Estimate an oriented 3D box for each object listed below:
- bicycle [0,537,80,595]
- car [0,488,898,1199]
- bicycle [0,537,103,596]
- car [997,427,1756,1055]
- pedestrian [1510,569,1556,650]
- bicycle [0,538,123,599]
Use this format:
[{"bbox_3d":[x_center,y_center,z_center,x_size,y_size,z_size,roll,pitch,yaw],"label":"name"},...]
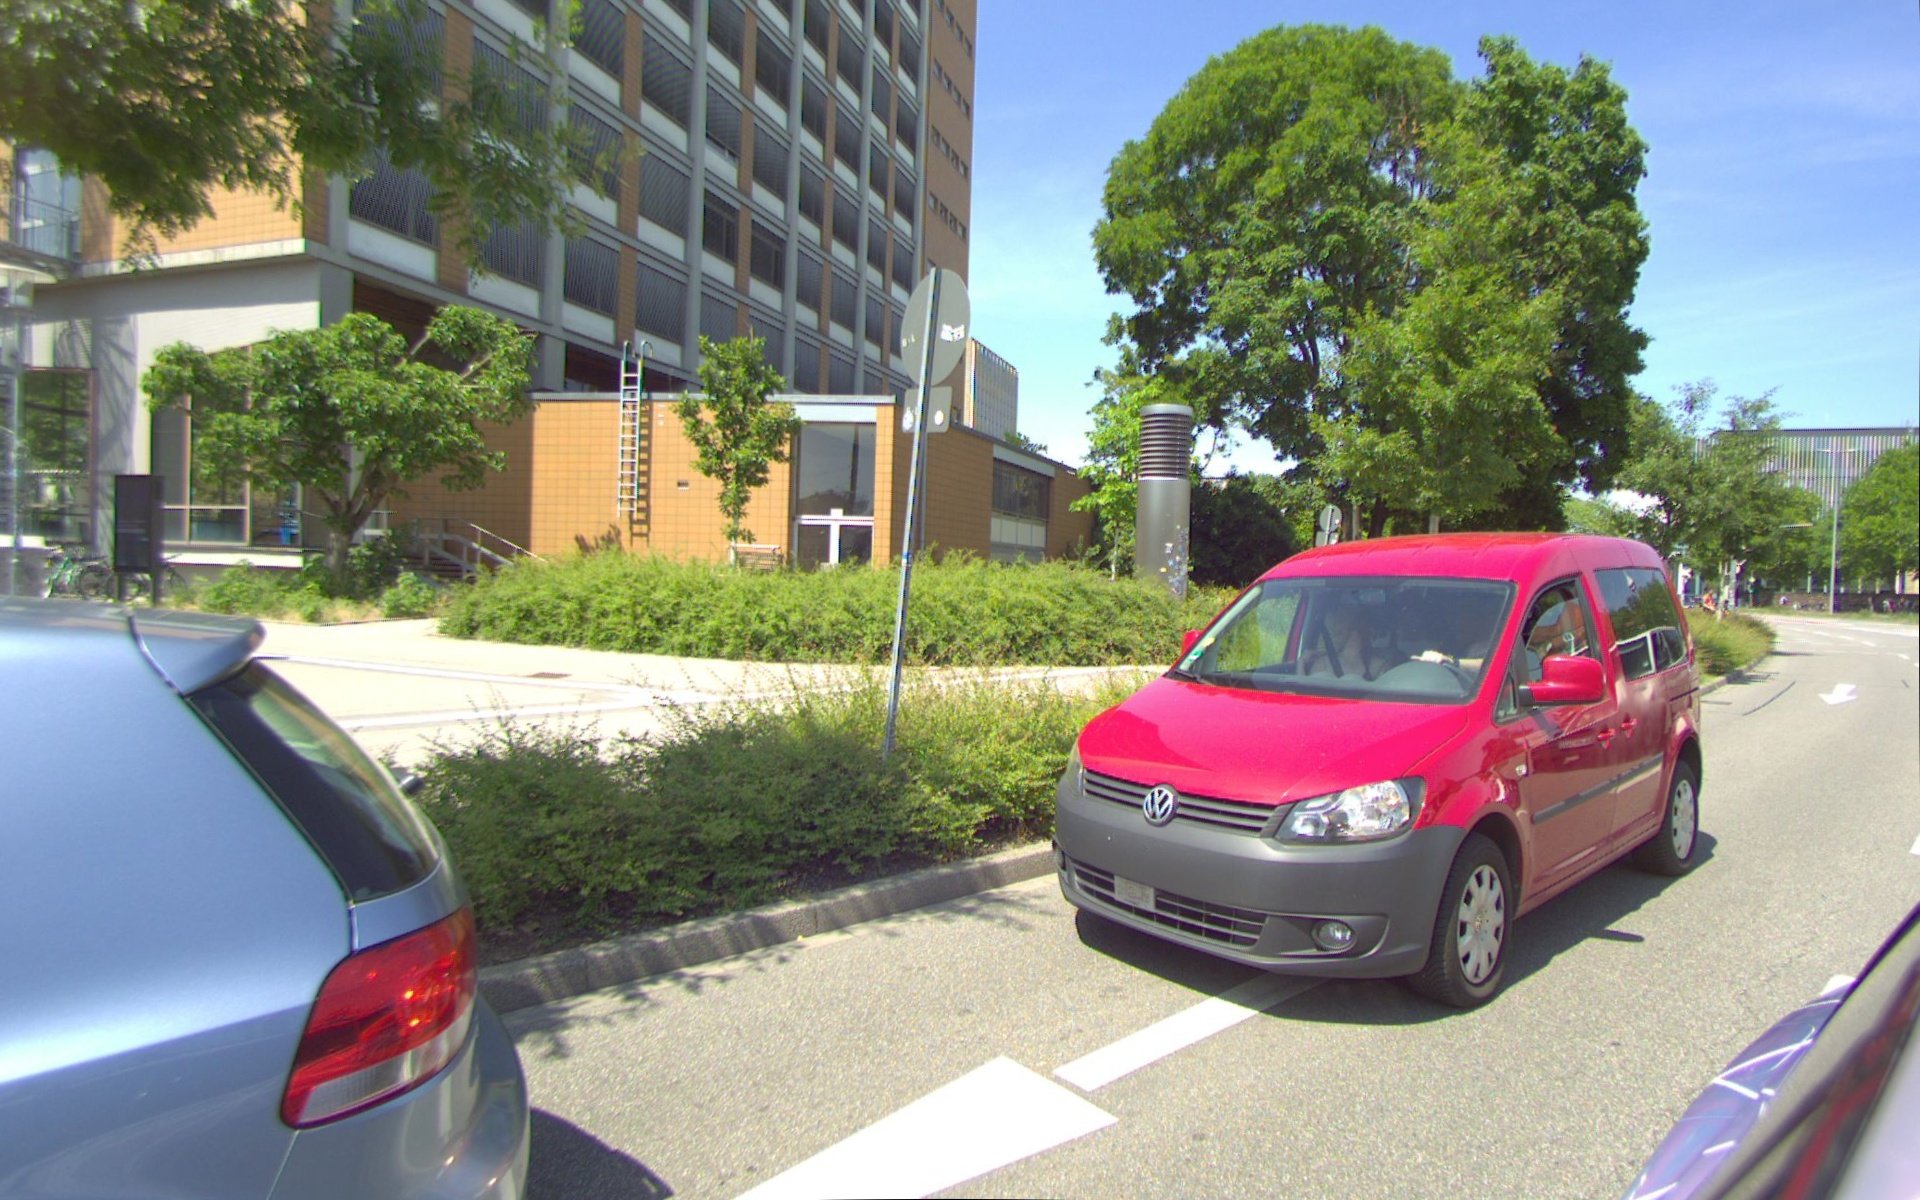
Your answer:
[{"bbox_3d":[-20.774,-0.737,22.179,0.630,1.233,2.201,0,0,22],"label":"bicycle"},{"bbox_3d":[-2.131,0.614,1.128,3.933,1.477,1.654,0,0,-41],"label":"car"},{"bbox_3d":[-20.054,-0.712,21.949,0.629,1.233,2.202,0,0,22],"label":"bicycle"},{"bbox_3d":[2.401,0.412,5.110,4.465,1.882,1.655,0,1,-40],"label":"car"},{"bbox_3d":[13.284,0.205,23.458,0.603,1.820,0.728,1,1,-40],"label":"pedestrian"},{"bbox_3d":[-19.337,-0.644,21.621,0.629,1.233,2.202,0,0,22],"label":"bicycle"}]
